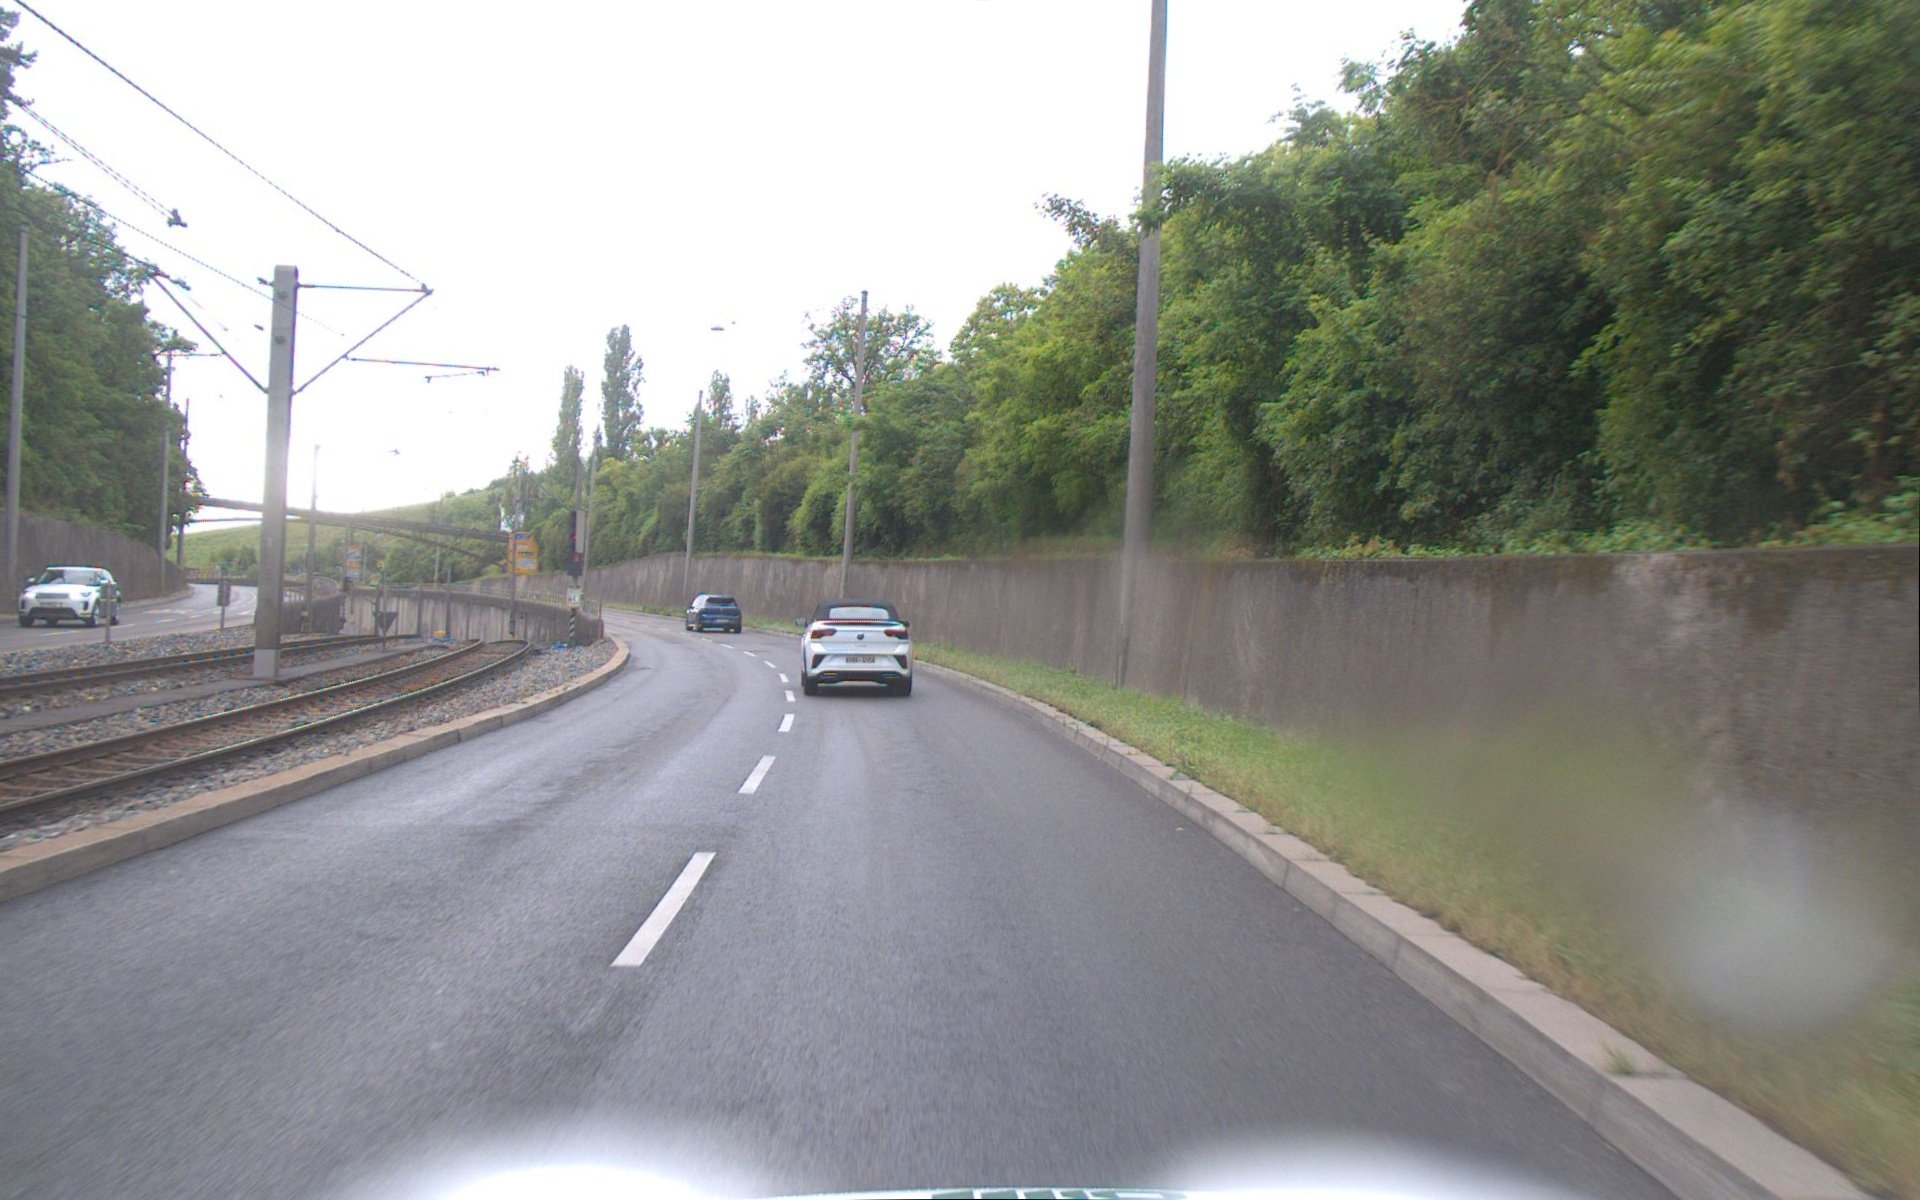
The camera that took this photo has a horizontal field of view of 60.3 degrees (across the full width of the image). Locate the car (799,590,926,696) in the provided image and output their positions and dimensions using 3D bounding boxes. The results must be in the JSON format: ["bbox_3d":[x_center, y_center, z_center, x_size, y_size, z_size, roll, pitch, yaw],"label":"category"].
[{"bbox_3d":[-1.712,0.664,27.902,1.957,1.606,4.121,1,0,-6],"label":"car"}]

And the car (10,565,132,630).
[{"bbox_3d":[-25.040,-0.073,46.768,1.901,1.713,4.393,1,0,-13],"label":"car"}]

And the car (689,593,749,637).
[{"bbox_3d":[-9.509,0.551,65.124,1.894,1.627,4.046,1,0,-14],"label":"car"}]
